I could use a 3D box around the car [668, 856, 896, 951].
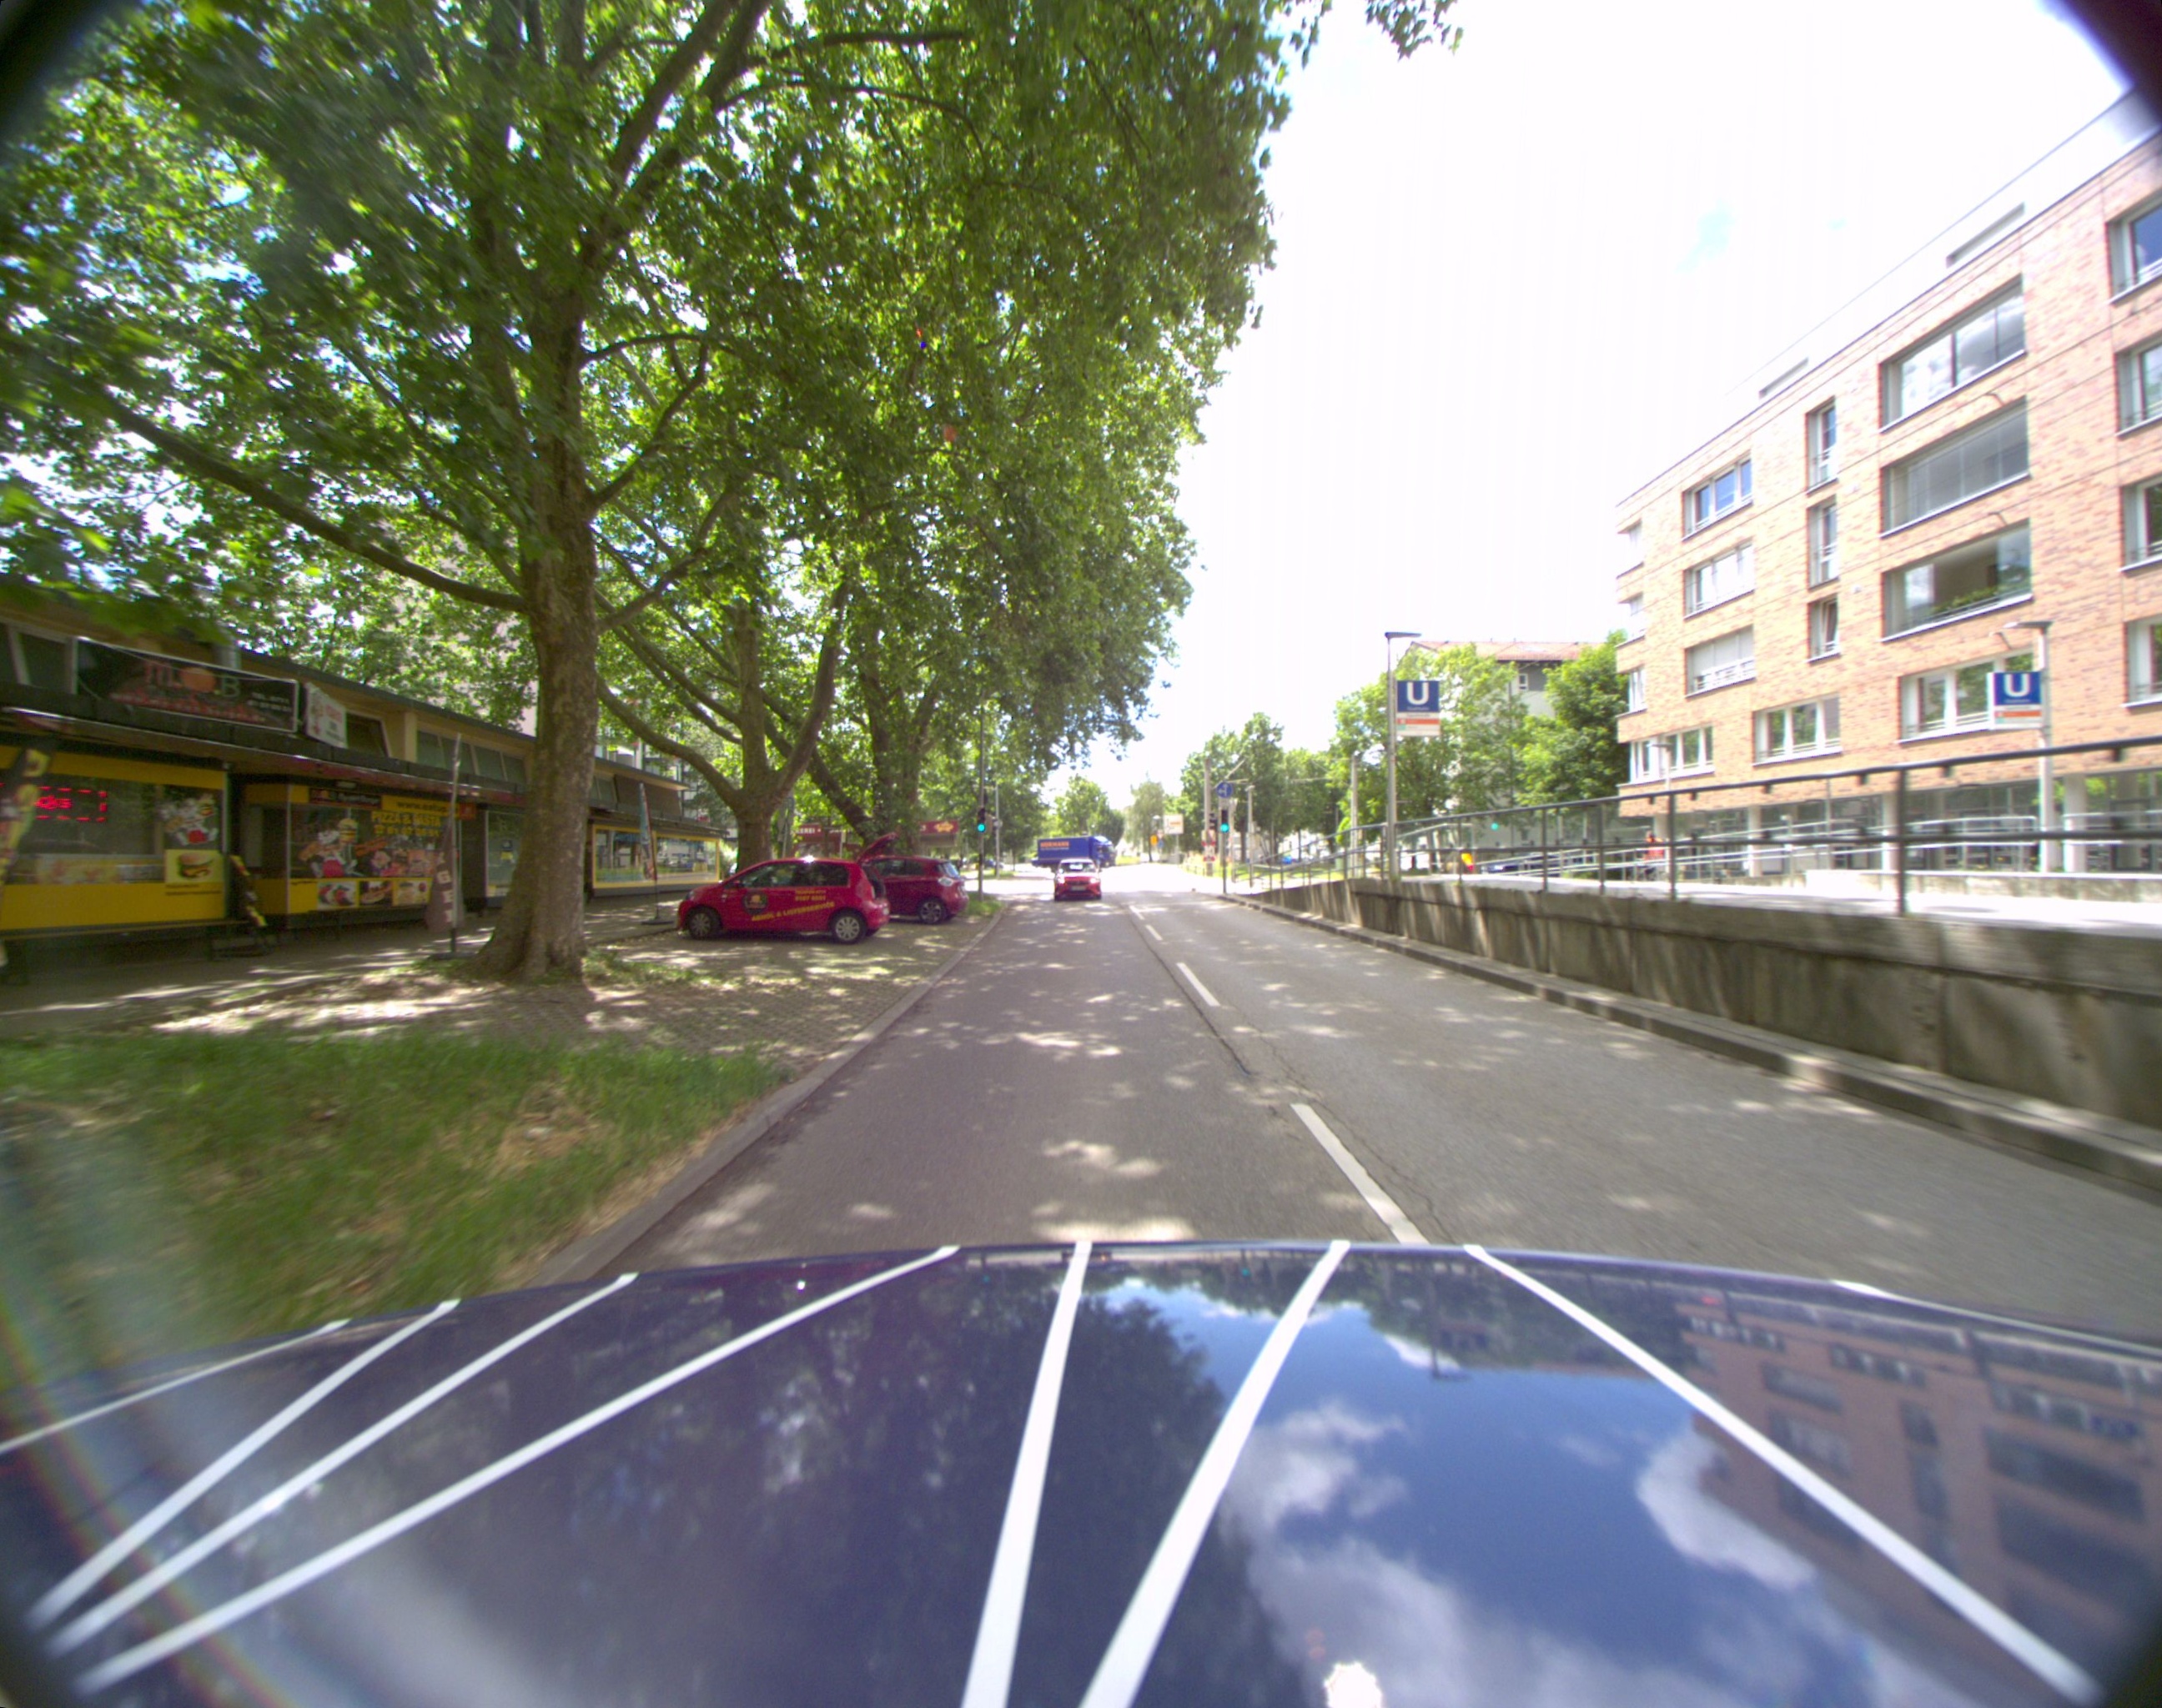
[{"bbox_3d":[-5.214,0.845,13.598,3.416,1.506,1.609,2,0,-3],"label":"car"}]

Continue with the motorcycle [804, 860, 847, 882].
[{"bbox_3d":[-14.099,0.910,41.872,2.135,1.188,0.740,0,0,9],"label":"motorcycle"}]

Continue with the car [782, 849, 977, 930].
[{"bbox_3d":[-4.642,0.780,17.899,4.038,1.602,1.731,3,1,3],"label":"car"}]

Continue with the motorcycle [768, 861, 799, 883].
[{"bbox_3d":[-16.416,0.967,41.954,2.132,1.188,0.741,0,0,43],"label":"motorcycle"}]

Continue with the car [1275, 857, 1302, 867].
[{"bbox_3d":[32.225,1.203,118.090,1.811,1.514,4.116,0,0,-21],"label":"car"}]

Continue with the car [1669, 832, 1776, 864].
[{"bbox_3d":[28.774,-0.261,34.137,3.540,1.391,1.594,0,0,-2],"label":"car"}]

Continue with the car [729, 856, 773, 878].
[{"bbox_3d":[-21.874,0.849,50.534,1.749,1.334,3.487,-1,0,-7],"label":"car"}]

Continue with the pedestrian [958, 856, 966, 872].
[{"bbox_3d":[-11.022,0.940,70.458,0.726,1.529,0.654,0,0,-4],"label":"pedestrian"}]

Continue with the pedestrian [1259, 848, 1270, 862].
[{"bbox_3d":[23.165,0.122,95.749,0.877,1.655,1.019,-1,0,-36],"label":"pedestrian"}]

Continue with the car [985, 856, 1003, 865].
[{"bbox_3d":[-13.406,1.051,116.436,1.811,1.346,3.993,0,0,-20],"label":"car"}]

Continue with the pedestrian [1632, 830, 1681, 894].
[{"bbox_3d":[16.543,0.232,21.854,0.745,1.814,0.829,-1,0,0],"label":"pedestrian"}]

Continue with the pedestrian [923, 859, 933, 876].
[{"bbox_3d":[-11.942,1.058,59.284,0.674,1.259,0.677,2,1,-10],"label":"pedestrian"}]

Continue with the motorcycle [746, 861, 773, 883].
[{"bbox_3d":[-17.829,0.988,42.099,0.741,1.188,2.132,0,1,-40],"label":"motorcycle"}]

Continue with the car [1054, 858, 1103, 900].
[{"bbox_3d":[-0.063,0.910,29.401,1.712,1.439,3.670,-2,0,1],"label":"car"}]

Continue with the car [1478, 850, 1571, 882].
[{"bbox_3d":[22.177,0.595,38.058,3.681,1.468,1.588,1,0,3],"label":"car"}]

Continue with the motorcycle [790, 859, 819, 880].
[{"bbox_3d":[-16.227,0.911,44.608,2.132,1.188,0.741,0,0,44],"label":"motorcycle"}]

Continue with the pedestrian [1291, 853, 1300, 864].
[{"bbox_3d":[32.154,0.725,114.099,1.022,1.655,0.875,0,0,-6],"label":"pedestrian"}]

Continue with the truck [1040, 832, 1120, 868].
[{"bbox_3d":[-0.201,-0.413,90.304,9.582,4.069,2.636,-1,0,32],"label":"truck"}]

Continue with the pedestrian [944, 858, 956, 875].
[{"bbox_3d":[-10.073,0.927,58.581,0.677,1.259,0.674,4,0,4],"label":"pedestrian"}]
